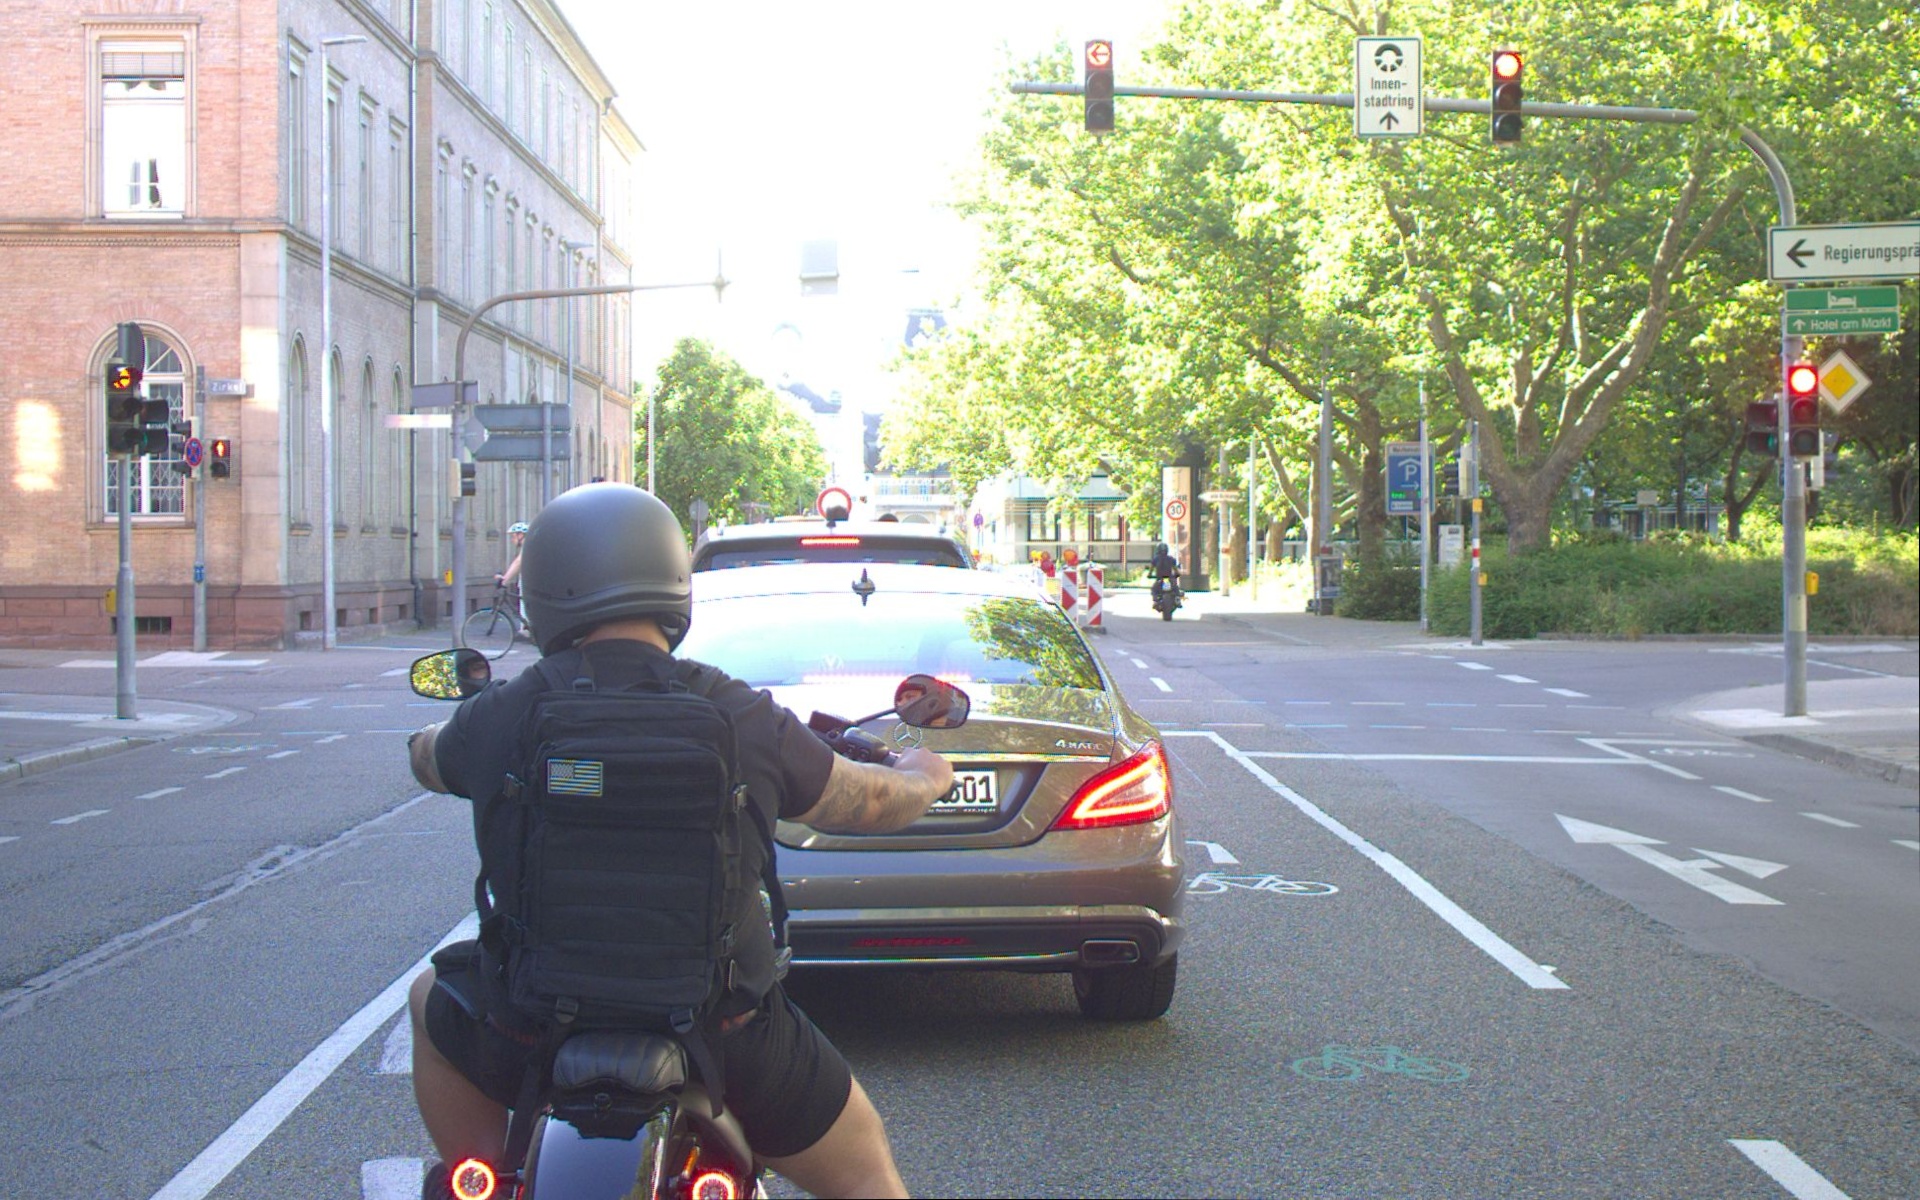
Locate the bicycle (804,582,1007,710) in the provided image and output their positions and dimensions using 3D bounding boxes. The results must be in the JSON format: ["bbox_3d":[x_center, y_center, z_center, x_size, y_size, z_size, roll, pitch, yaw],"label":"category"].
[{"bbox_3d":[-0.509,0.404,30.913,0.703,1.099,2.163,-1,0,-36],"label":"bicycle"}]

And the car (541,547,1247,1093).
[{"bbox_3d":[-0.433,0.563,11.601,1.945,1.468,4.363,0,1,-7],"label":"car"}]

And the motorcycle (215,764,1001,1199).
[{"bbox_3d":[-0.457,0.885,5.565,0.989,1.075,2.452,0,1,-1],"label":"motorcycle"}]

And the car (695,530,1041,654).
[{"bbox_3d":[-1.155,-0.101,42.989,3.894,1.481,1.862,1,1,-22],"label":"car"}]

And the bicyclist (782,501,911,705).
[{"bbox_3d":[-0.962,0.012,28.985,0.703,1.687,0.965,-1,1,-30],"label":"bicyclist"}]

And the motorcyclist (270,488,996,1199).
[{"bbox_3d":[-0.454,0.629,5.407,0.989,1.591,1.404,0,1,-1],"label":"motorcyclist"}]

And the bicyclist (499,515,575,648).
[{"bbox_3d":[-5.569,-0.246,45.262,0.975,1.737,0.609,0,1,-5],"label":"bicyclist"}]

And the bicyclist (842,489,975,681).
[{"bbox_3d":[-0.470,-0.135,30.878,0.703,1.689,1.047,-1,0,-35],"label":"bicyclist"}]

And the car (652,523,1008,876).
[{"bbox_3d":[-0.639,0.413,17.767,1.612,1.602,4.329,0,1,-1],"label":"car"}]

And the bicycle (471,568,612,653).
[{"bbox_3d":[-5.503,0.136,45.274,1.833,1.101,0.612,0,1,-5],"label":"bicycle"}]

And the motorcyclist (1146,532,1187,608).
[{"bbox_3d":[4.633,-0.685,77.287,0.838,1.697,1.180,0,1,-1],"label":"motorcyclist"}]

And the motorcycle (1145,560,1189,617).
[{"bbox_3d":[4.649,-0.265,77.272,0.838,1.241,2.283,0,1,-1],"label":"motorcycle"}]
